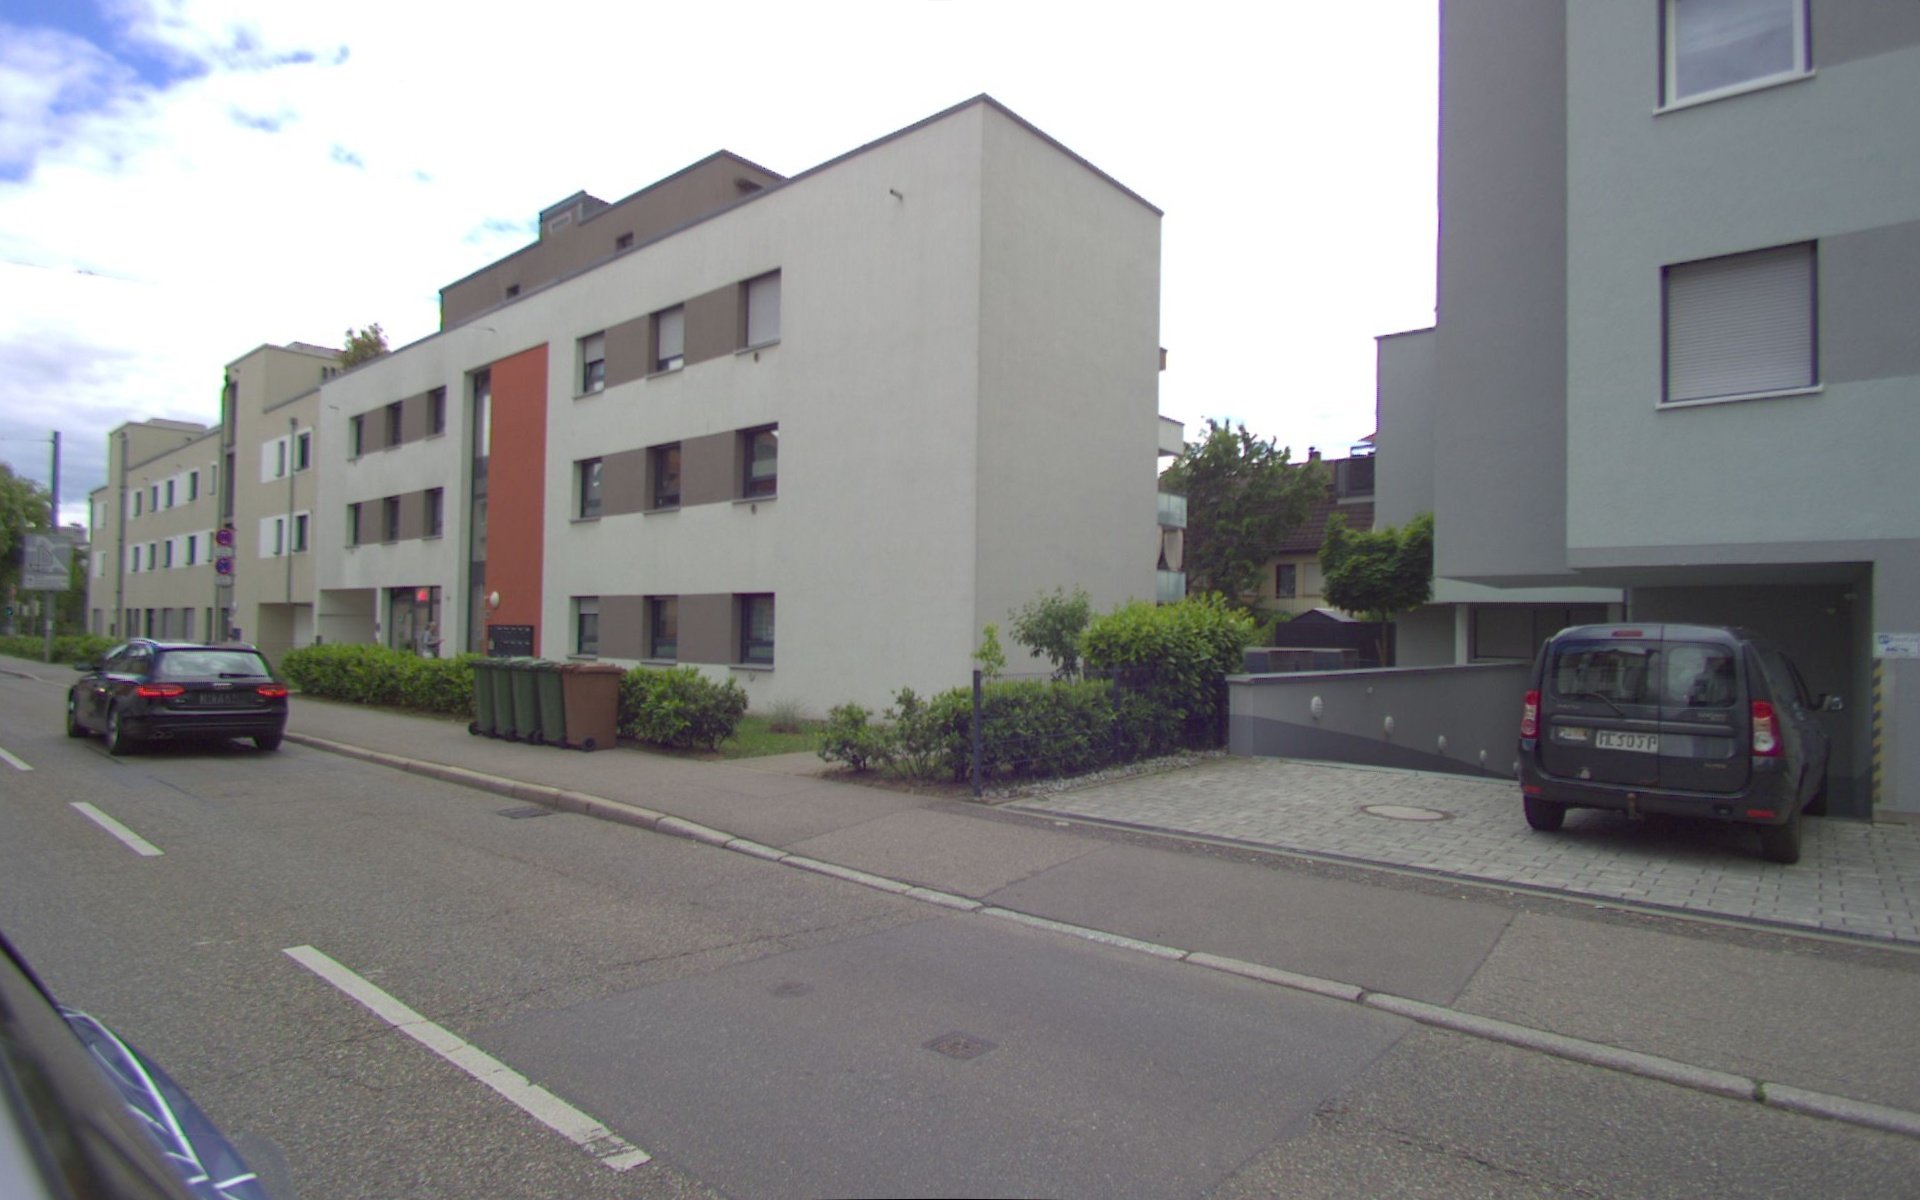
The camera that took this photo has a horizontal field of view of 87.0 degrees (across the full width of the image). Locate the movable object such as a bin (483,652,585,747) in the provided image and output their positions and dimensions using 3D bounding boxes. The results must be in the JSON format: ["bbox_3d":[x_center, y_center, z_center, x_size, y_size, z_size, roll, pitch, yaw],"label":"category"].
[{"bbox_3d":[-5.637,1.289,13.419,0.839,1.160,0.947,-1,-2,36],"label":"movable object such as a bin"}]

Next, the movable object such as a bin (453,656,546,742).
[{"bbox_3d":[-6.321,1.332,13.915,0.791,1.097,0.886,-1,-2,36],"label":"movable object such as a bin"}]

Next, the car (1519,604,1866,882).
[{"bbox_3d":[6.107,0.939,8.236,1.725,1.680,4.116,-1,-2,44],"label":"car"}]

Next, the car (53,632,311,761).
[{"bbox_3d":[-10.541,1.202,13.612,4.211,1.462,1.859,-1,-5,41],"label":"car"}]

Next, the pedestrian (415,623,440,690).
[{"bbox_3d":[-13.262,1.395,25.215,0.511,1.655,0.642,1,-2,-27],"label":"pedestrian"}]

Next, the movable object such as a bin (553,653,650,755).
[{"bbox_3d":[-4.401,1.250,12.448,0.612,1.160,0.932,-1,-2,36],"label":"movable object such as a bin"}]

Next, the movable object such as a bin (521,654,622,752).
[{"bbox_3d":[-4.940,1.283,12.905,0.748,1.160,0.940,-1,-2,36],"label":"movable object such as a bin"}]
